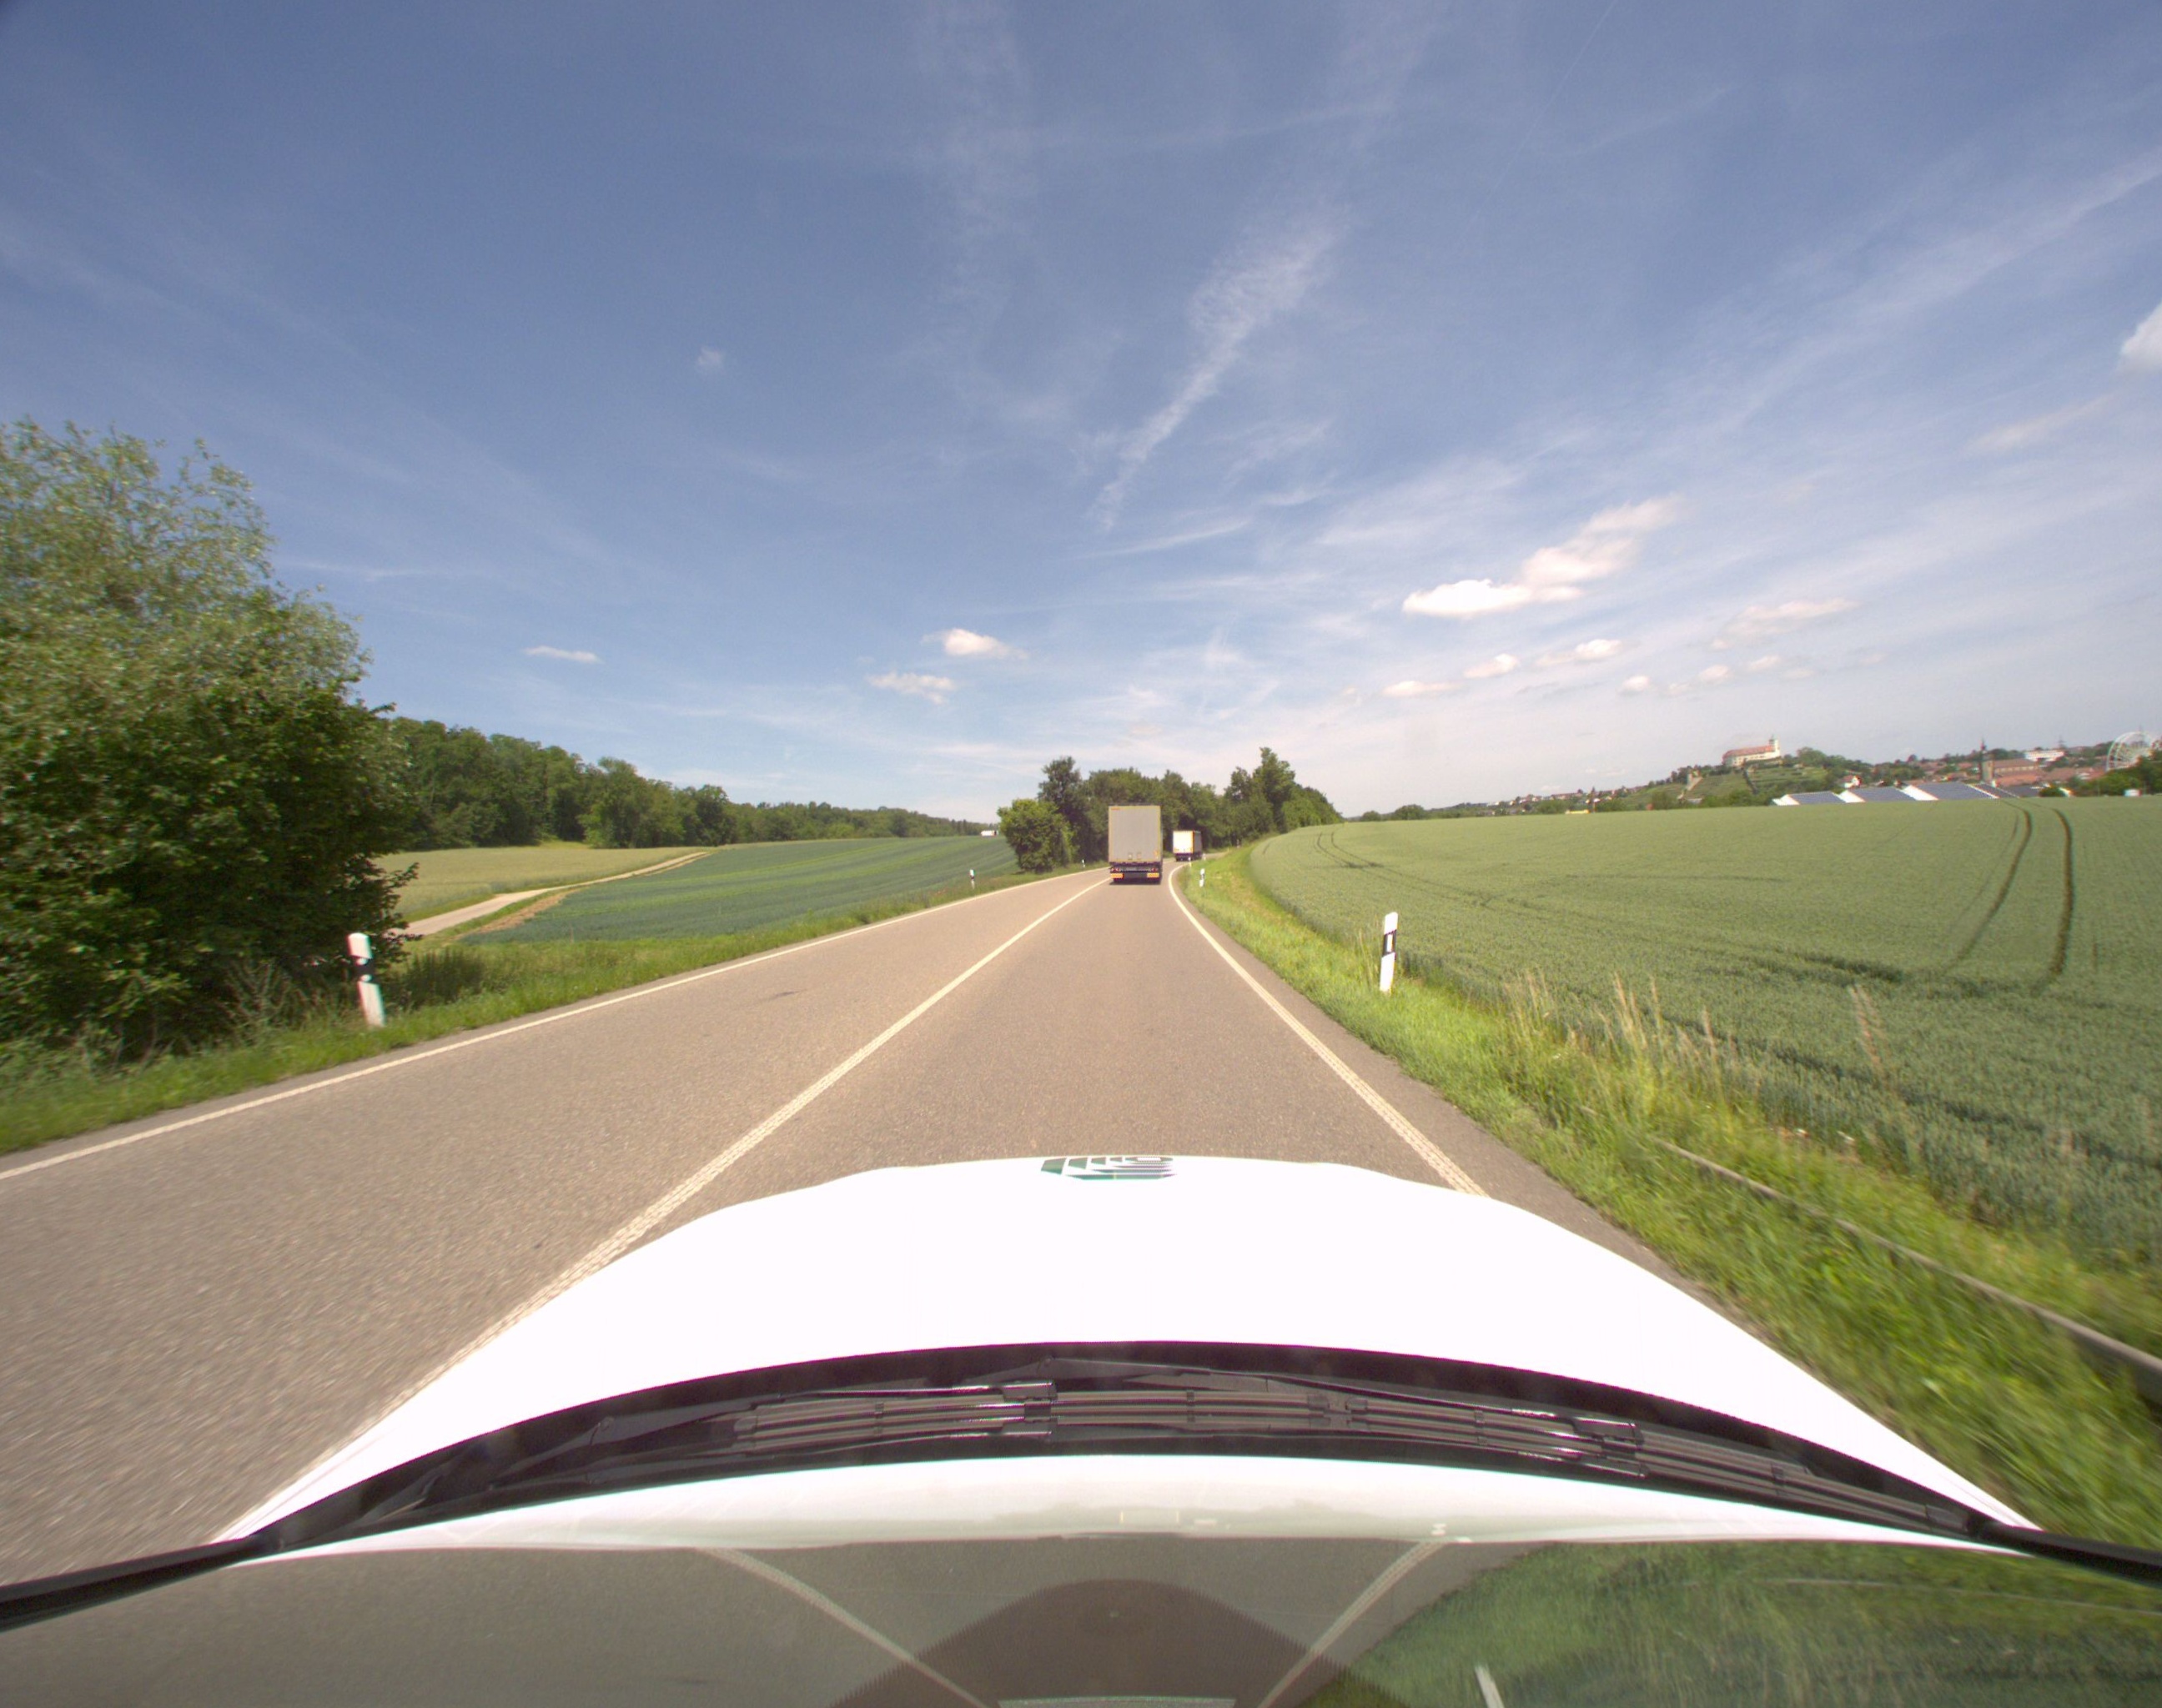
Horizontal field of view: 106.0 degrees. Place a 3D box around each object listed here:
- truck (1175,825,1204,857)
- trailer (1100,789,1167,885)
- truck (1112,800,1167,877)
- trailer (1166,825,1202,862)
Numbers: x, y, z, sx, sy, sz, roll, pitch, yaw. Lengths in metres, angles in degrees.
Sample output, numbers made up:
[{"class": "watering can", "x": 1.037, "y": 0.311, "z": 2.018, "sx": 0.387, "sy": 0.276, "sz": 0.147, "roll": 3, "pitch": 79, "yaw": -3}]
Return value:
[{"class": "truck", "x": 15.826, "y": -1.944, "z": 118.544, "sx": 3.342, "sy": 4.316, "sz": 6.766, "roll": -2, "pitch": 2, "yaw": 13}, {"class": "trailer", "x": 3.215, "y": -0.858, "z": 45.918, "sx": 3.102, "sy": 4.499, "sz": 13.910, "roll": -1, "pitch": 0, "yaw": 6}, {"class": "truck", "x": 3.820, "y": -0.914, "z": 51.648, "sx": 3.103, "sy": 4.494, "sz": 6.822, "roll": -1, "pitch": 0, "yaw": 6}, {"class": "trailer", "x": 14.326, "y": -1.594, "z": 112.097, "sx": 3.342, "sy": 4.315, "sz": 13.918, "roll": -2, "pitch": 3, "yaw": 13}]
